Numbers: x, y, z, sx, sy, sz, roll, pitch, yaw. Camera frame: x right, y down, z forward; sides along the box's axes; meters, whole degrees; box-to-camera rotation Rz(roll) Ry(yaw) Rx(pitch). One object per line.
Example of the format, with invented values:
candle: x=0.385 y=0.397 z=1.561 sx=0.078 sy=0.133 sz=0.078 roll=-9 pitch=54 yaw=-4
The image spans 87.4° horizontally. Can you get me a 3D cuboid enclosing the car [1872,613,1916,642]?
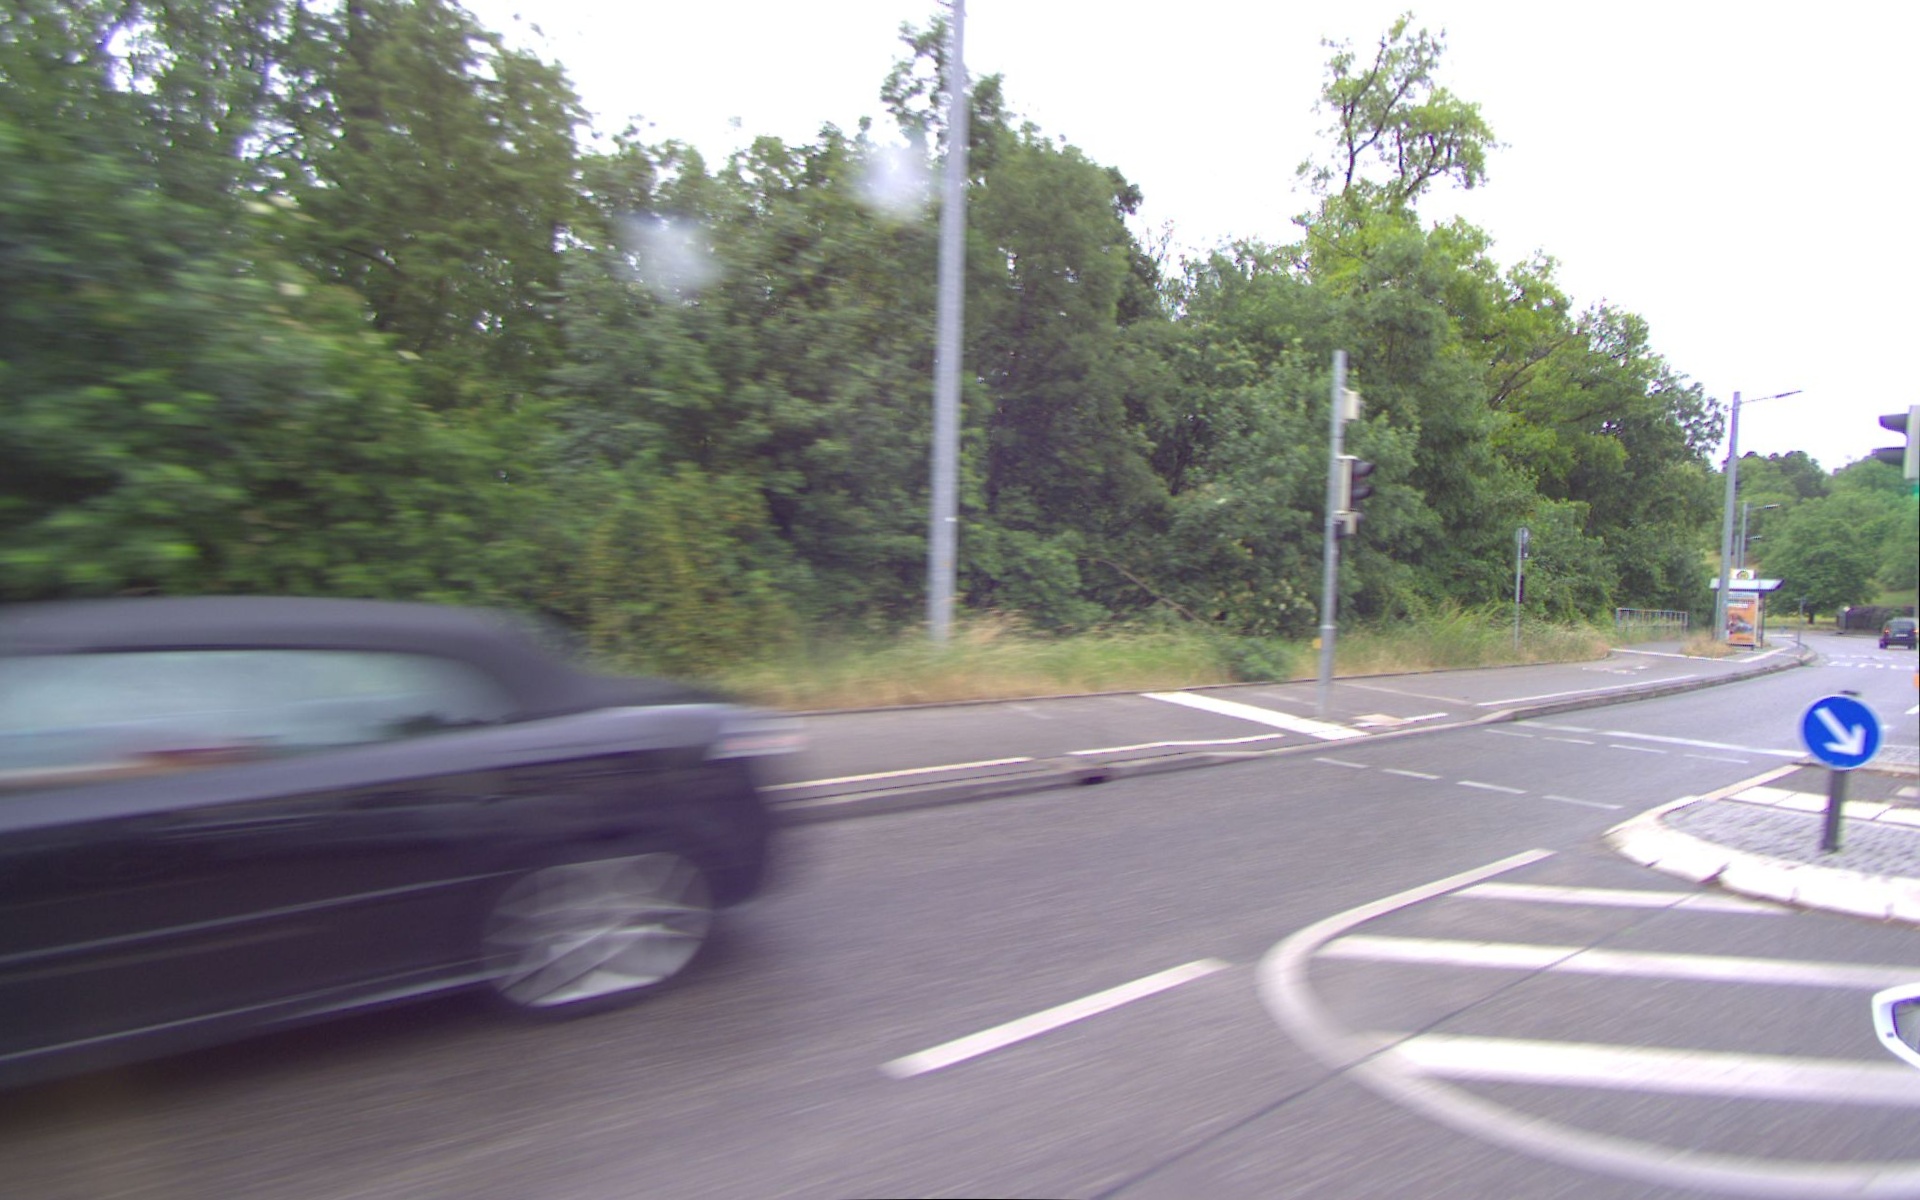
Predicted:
car: x=61.075 y=1.796 z=65.729 sx=1.909 sy=1.774 sz=3.980 roll=2 pitch=1 yaw=41

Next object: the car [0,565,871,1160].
car: x=-2.616 y=0.649 z=3.410 sx=4.376 sy=1.479 sz=1.730 roll=2 pitch=0 yaw=-39
